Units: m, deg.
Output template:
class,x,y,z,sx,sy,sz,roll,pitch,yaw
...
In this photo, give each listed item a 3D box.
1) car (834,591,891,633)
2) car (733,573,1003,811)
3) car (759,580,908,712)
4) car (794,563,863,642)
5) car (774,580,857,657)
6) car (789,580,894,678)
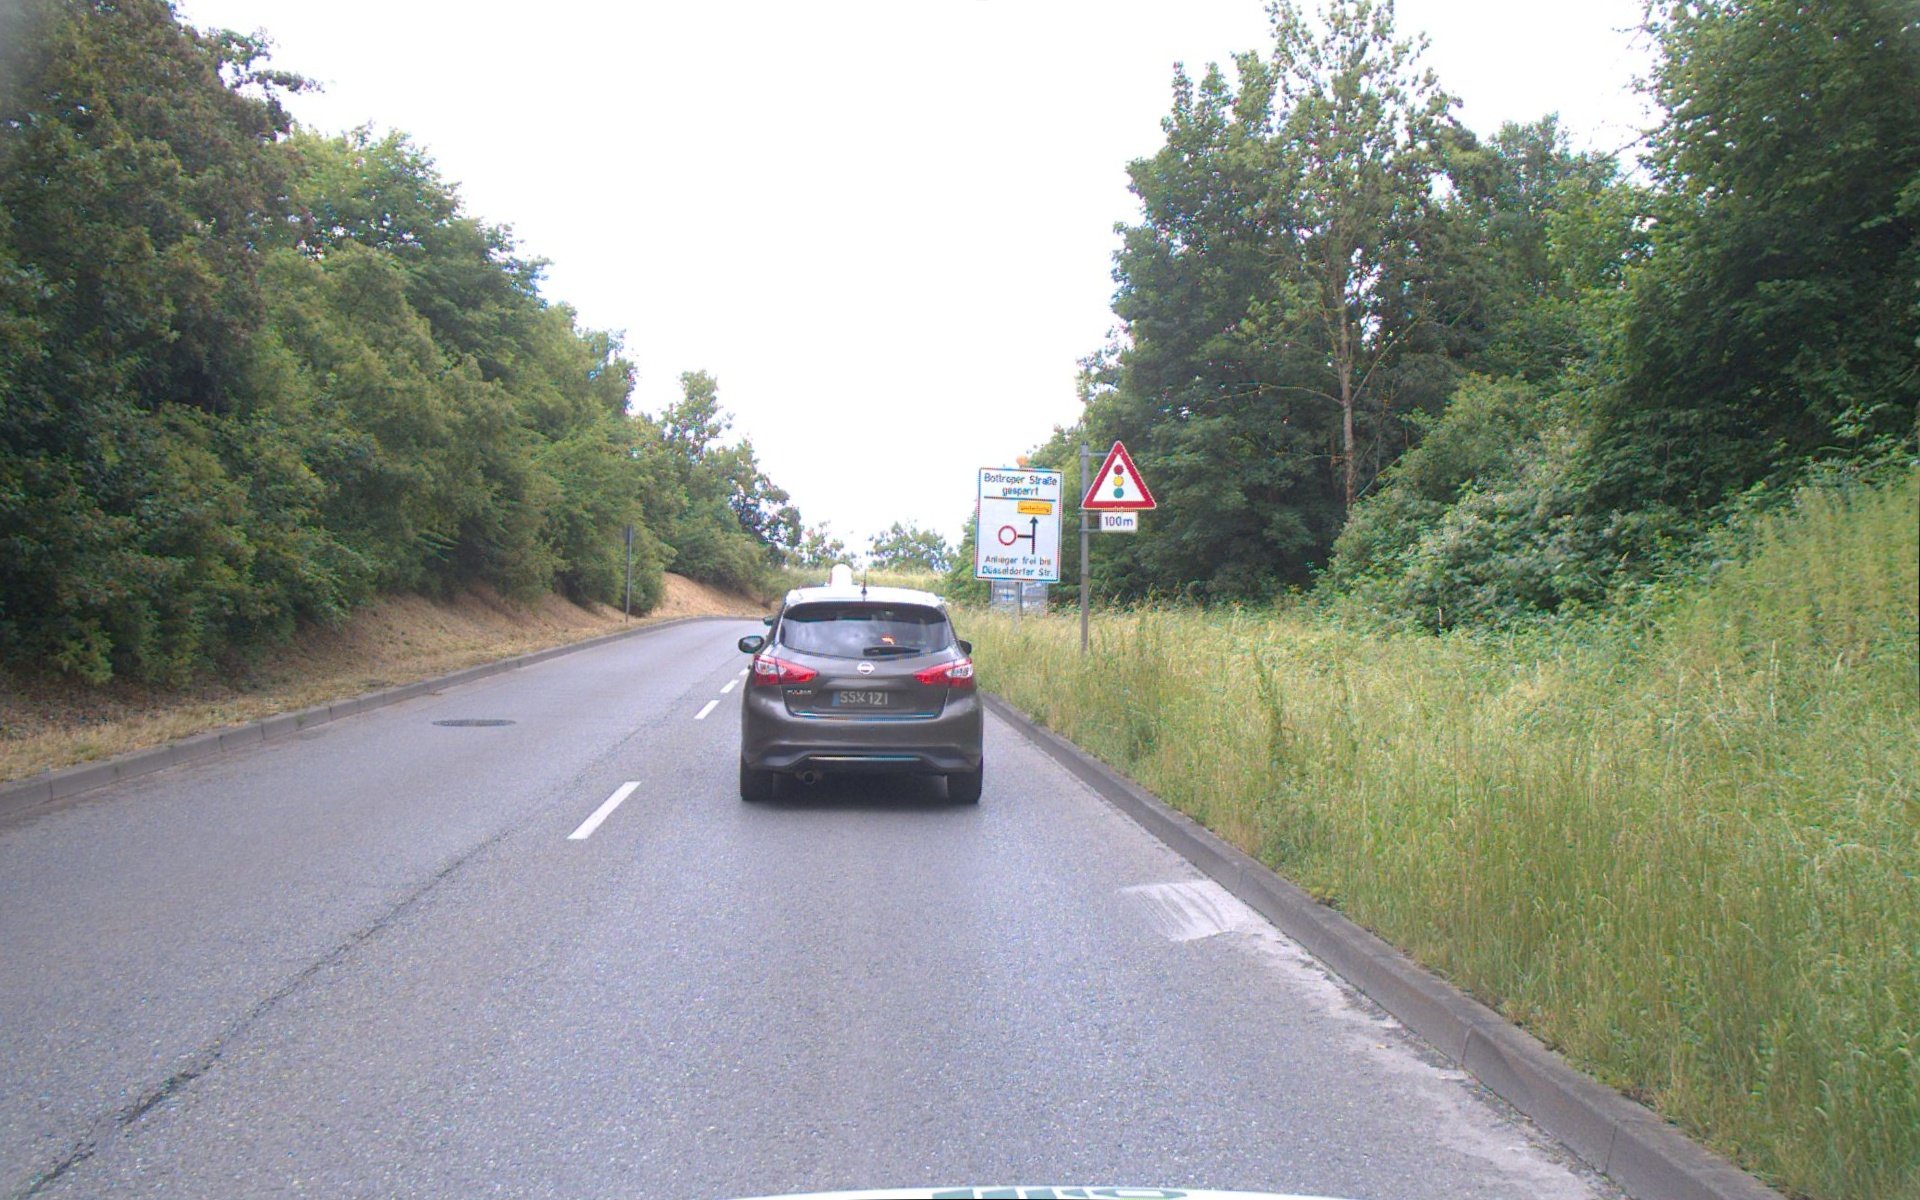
class,x,y,z,sx,sy,sz,roll,pitch,yaw
car,-3.656,0.425,62.644,1.699,1.553,3.643,0,0,4
car,-0.744,0.613,12.867,1.794,1.583,3.496,1,0,-5
car,-1.632,0.537,21.753,1.794,1.583,3.622,0,0,-4
car,-3.398,0.046,43.157,1.701,1.968,3.541,0,0,-3
car,-3.098,0.367,35.928,1.701,1.583,3.541,0,0,-4
car,-2.023,0.448,28.526,1.701,1.583,3.541,0,0,-4
